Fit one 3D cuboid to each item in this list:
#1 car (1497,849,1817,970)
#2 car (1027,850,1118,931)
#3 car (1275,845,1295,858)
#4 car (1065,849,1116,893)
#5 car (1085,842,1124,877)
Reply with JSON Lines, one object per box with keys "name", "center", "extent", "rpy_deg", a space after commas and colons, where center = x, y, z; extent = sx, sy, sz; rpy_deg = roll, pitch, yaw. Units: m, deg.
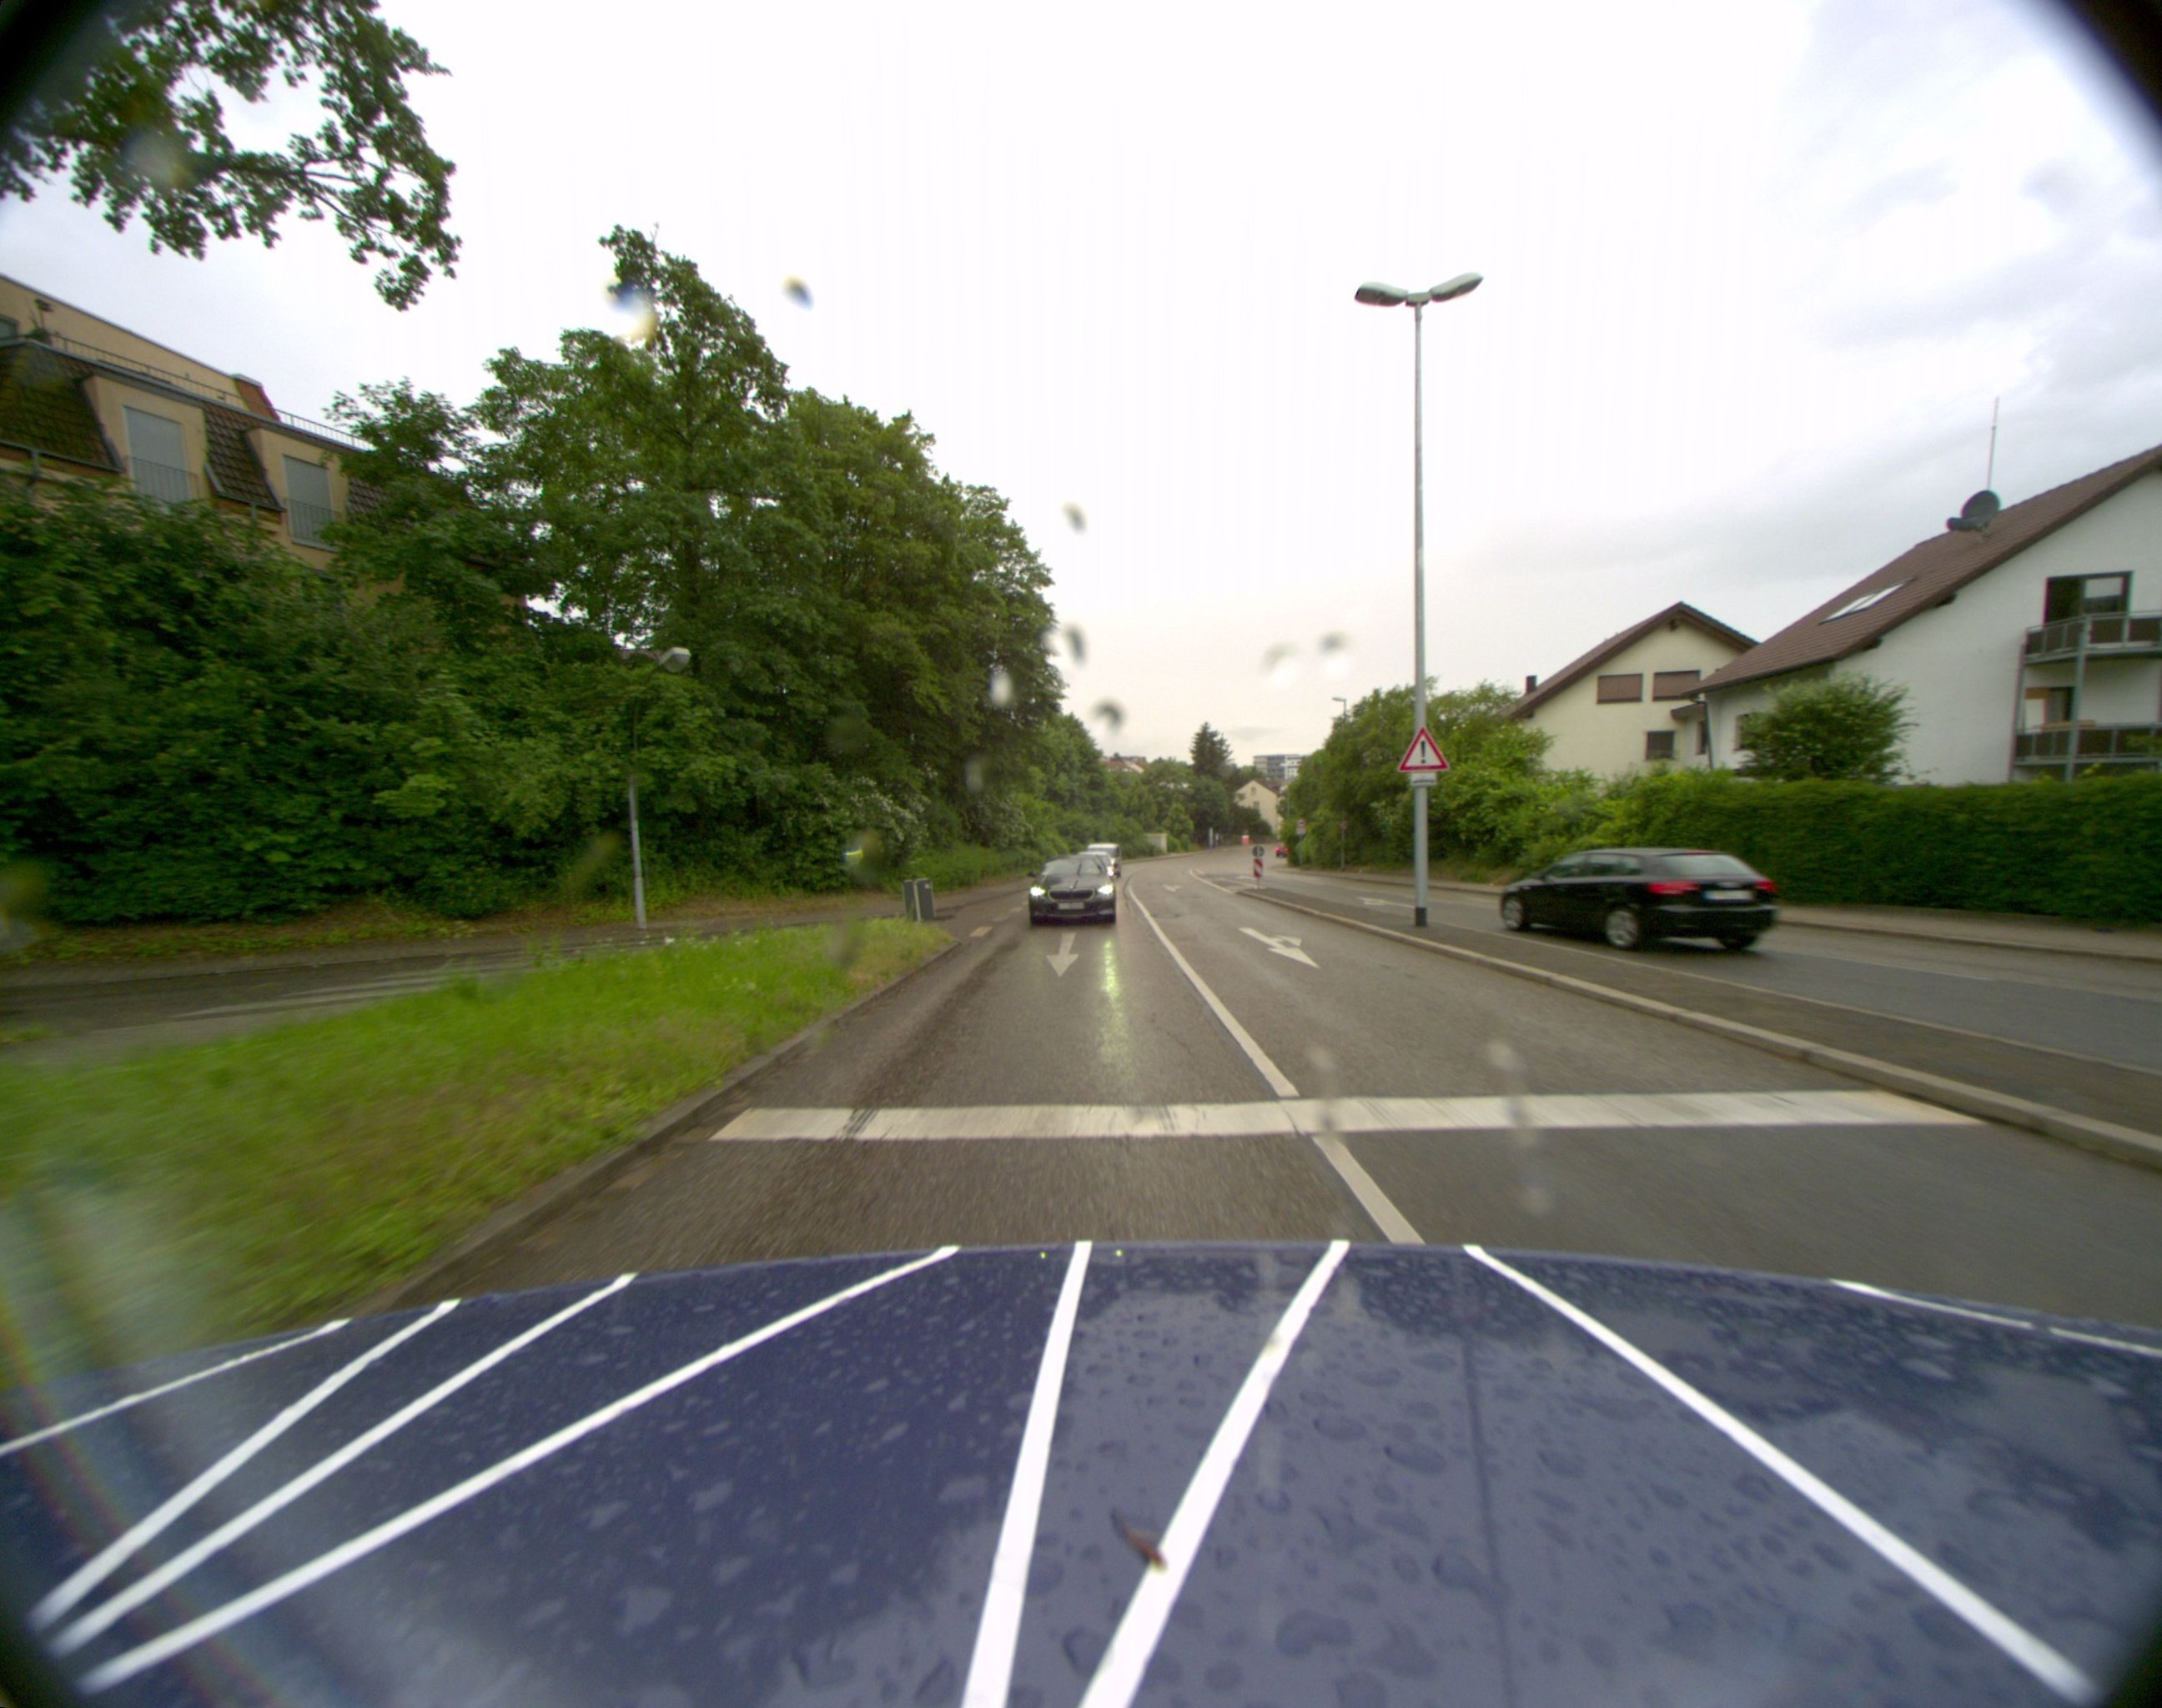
{"name": "car", "center": [8.256, 0.686, 11.416], "extent": [1.867, 1.484, 3.832], "rpy_deg": [-1, 1, -1]}
{"name": "car", "center": [-0.094, 0.744, 17.655], "extent": [1.867, 1.547, 4.119], "rpy_deg": [-1, 2, 2]}
{"name": "car", "center": [29.519, -0.413, 109.899], "extent": [1.957, 1.835, 4.007], "rpy_deg": [2, 1, 27]}
{"name": "car", "center": [0.433, 0.603, 29.577], "extent": [1.814, 1.547, 4.119], "rpy_deg": [-1, 1, 2]}
{"name": "car", "center": [1.332, 0.250, 41.129], "extent": [1.813, 1.797, 4.120], "rpy_deg": [0, 1, 6]}
